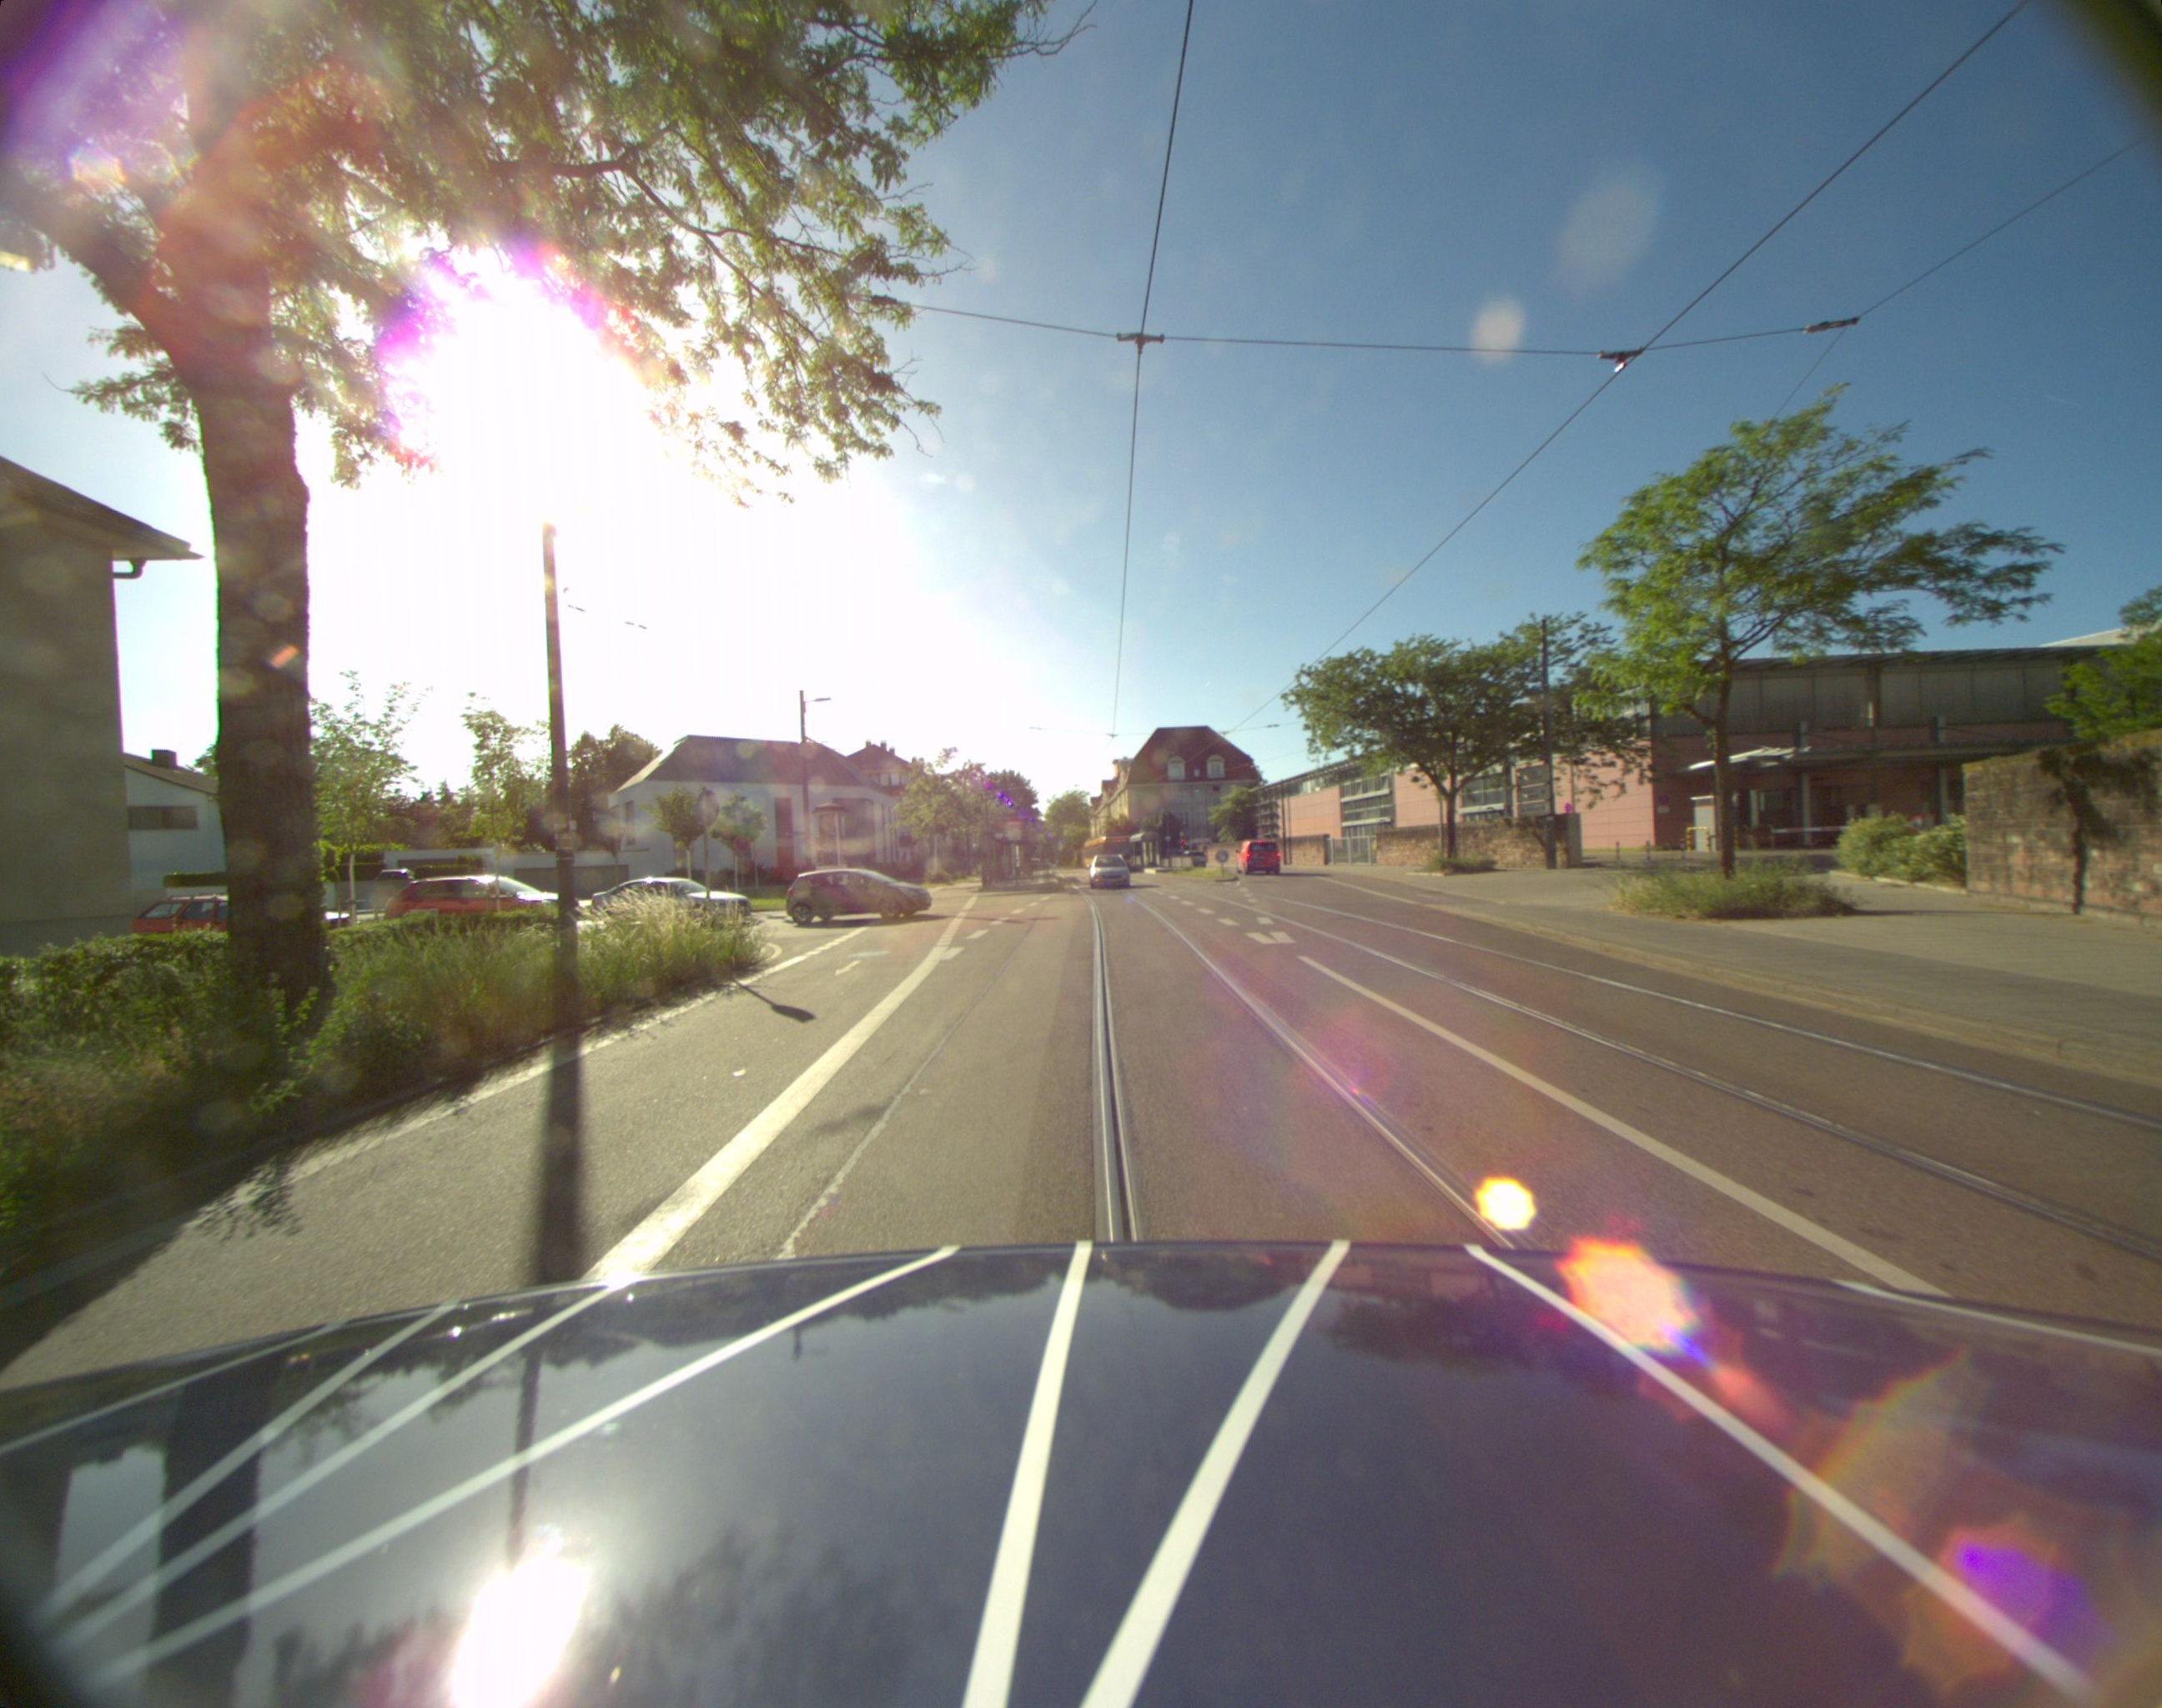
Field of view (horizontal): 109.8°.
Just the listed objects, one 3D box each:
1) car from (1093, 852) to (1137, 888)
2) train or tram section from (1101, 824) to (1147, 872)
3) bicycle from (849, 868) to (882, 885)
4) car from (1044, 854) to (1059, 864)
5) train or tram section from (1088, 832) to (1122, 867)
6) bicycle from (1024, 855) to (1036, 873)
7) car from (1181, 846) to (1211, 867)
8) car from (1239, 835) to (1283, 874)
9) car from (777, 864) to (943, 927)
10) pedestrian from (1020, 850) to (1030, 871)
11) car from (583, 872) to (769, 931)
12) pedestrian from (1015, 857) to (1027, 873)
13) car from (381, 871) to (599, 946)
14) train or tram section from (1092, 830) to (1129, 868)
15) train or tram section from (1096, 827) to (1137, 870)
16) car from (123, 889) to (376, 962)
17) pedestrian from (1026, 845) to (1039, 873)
[{"bbox_3d":[1.454,0.690,33.975,1.742,1.450,3.693,-3,0,0],"label":"car"},{"bbox_3d":[3.313,-0.436,59.894,2.811,3.439,6.666,-3,0,-3],"label":"train or tram section"},{"bbox_3d":[-13.662,1.431,48.211,1.904,0.973,0.491,-2,1,-9],"label":"bicycle"},{"bbox_3d":[-4.656,0.774,120.739,1.743,1.450,3.690,-3,0,-11],"label":"car"},{"bbox_3d":[2.456,-0.446,79.917,2.811,3.439,6.666,-3,0,-3],"label":"train or tram section"},{"bbox_3d":[-3.598,0.680,53.470,0.621,1.222,1.965,-3,0,-6],"label":"bicycle"},{"bbox_3d":[9.770,0.208,64.677,1.769,1.654,4.209,-2,0,-2],"label":"car"},{"bbox_3d":[10.011,0.012,42.533,1.997,1.954,4.937,-2,0,10],"label":"car"},{"bbox_3d":[-6.185,1.151,21.563,3.995,1.499,1.983,-3,0,7],"label":"car"},{"bbox_3d":[-4.681,0.550,63.423,0.673,1.694,0.690,-4,1,-4],"label":"pedestrian"},{"bbox_3d":[-12.120,1.412,22.886,4.611,1.458,1.983,-2,2,9],"label":"car"},{"bbox_3d":[-4.336,0.802,55.018,0.740,1.111,0.658,-4,1,-3],"label":"pedestrian"},{"bbox_3d":[-15.773,1.413,20.487,4.174,1.632,1.981,-3,0,-4],"label":"car"},{"bbox_3d":[2.749,-0.458,73.215,2.811,3.439,6.666,-3,0,-3],"label":"train or tram section"},{"bbox_3d":[3.037,-0.481,66.578,2.811,3.439,6.666,-3,0,-3],"label":"train or tram section"},{"bbox_3d":[-21.959,1.849,20.252,4.176,1.499,1.981,-3,0,-8],"label":"car"},{"bbox_3d":[-3.297,0.317,51.283,0.713,1.843,0.729,-4,1,-1],"label":"pedestrian"}]
